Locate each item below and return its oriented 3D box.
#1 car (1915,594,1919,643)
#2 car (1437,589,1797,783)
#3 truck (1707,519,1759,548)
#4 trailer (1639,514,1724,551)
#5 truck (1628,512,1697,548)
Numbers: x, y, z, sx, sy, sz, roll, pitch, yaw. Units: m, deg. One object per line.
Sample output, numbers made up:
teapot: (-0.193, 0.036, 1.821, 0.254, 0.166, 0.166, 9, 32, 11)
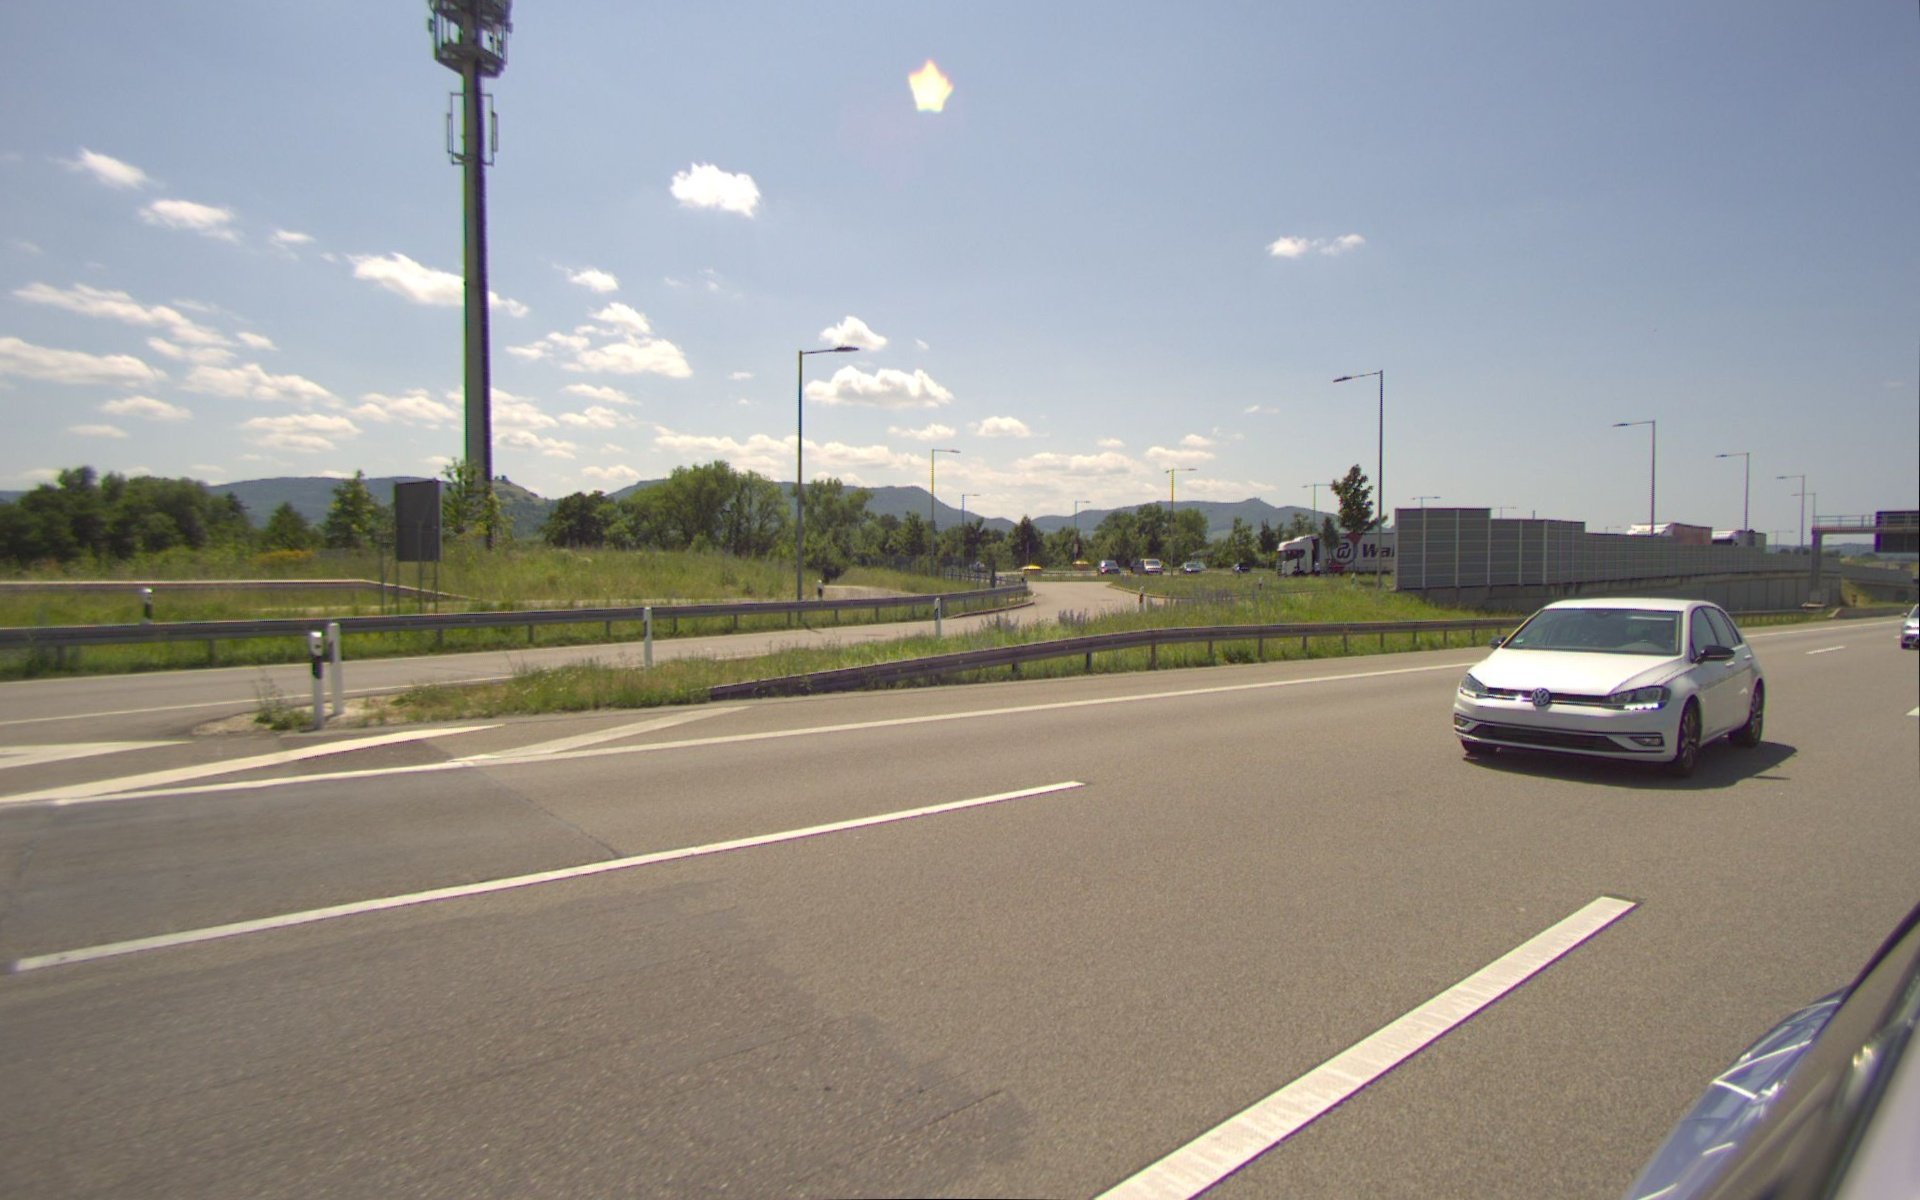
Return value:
car: (29.897, 0.527, 30.295, 3.932, 1.407, 1.632, -1, 0, -43)
car: (6.523, 0.626, 9.805, 4.610, 1.451, 1.778, -1, 0, -42)
truck: (69.056, -5.863, 90.360, 5.934, 2.258, 2.726, -1, 0, -43)
trailer: (56.256, -5.135, 78.707, 13.785, 2.252, 2.722, -1, 0, -43)
truck: (51.588, -5.102, 74.269, 7.165, 2.232, 2.710, -1, 0, -43)
